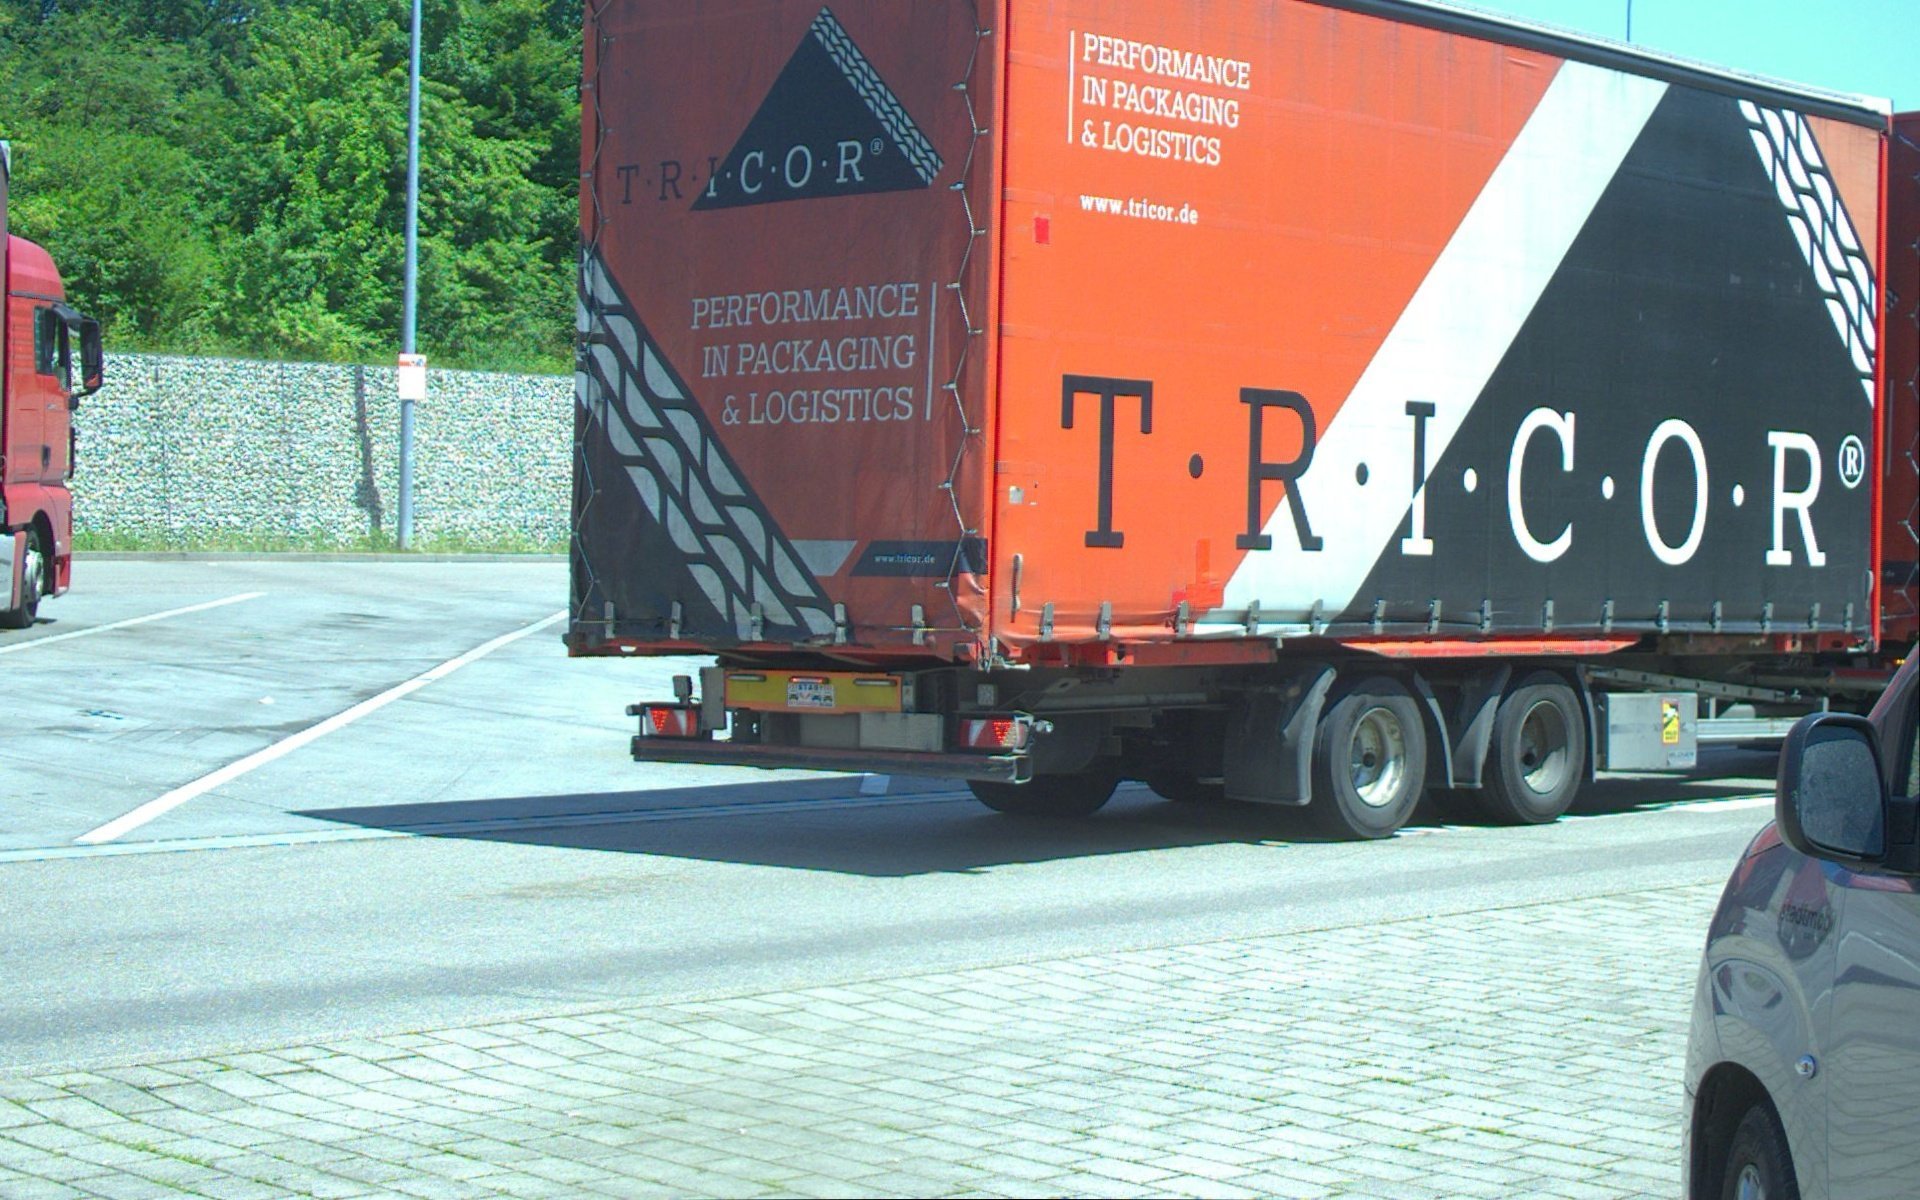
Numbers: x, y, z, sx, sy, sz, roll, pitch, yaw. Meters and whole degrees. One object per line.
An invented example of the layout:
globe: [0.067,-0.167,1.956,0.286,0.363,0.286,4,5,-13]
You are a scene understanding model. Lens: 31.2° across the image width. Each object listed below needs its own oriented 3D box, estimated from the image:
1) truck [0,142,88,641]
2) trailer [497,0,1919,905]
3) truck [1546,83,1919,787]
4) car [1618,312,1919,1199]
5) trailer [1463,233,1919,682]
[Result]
truck: [-9.212,-1.699,27.640,2.743,4.067,6.830,1,2,-1]
trailer: [1.881,-1.019,17.800,2.841,4.243,8.664,2,2,42]
truck: [8.392,-1.074,24.765,2.692,4.113,10.578,2,2,44]
car: [2.152,0.542,3.777,1.825,1.747,4.001,1,2,-4]
trailer: [8.162,-1.536,38.457,2.876,4.110,13.572,1,2,-1]
